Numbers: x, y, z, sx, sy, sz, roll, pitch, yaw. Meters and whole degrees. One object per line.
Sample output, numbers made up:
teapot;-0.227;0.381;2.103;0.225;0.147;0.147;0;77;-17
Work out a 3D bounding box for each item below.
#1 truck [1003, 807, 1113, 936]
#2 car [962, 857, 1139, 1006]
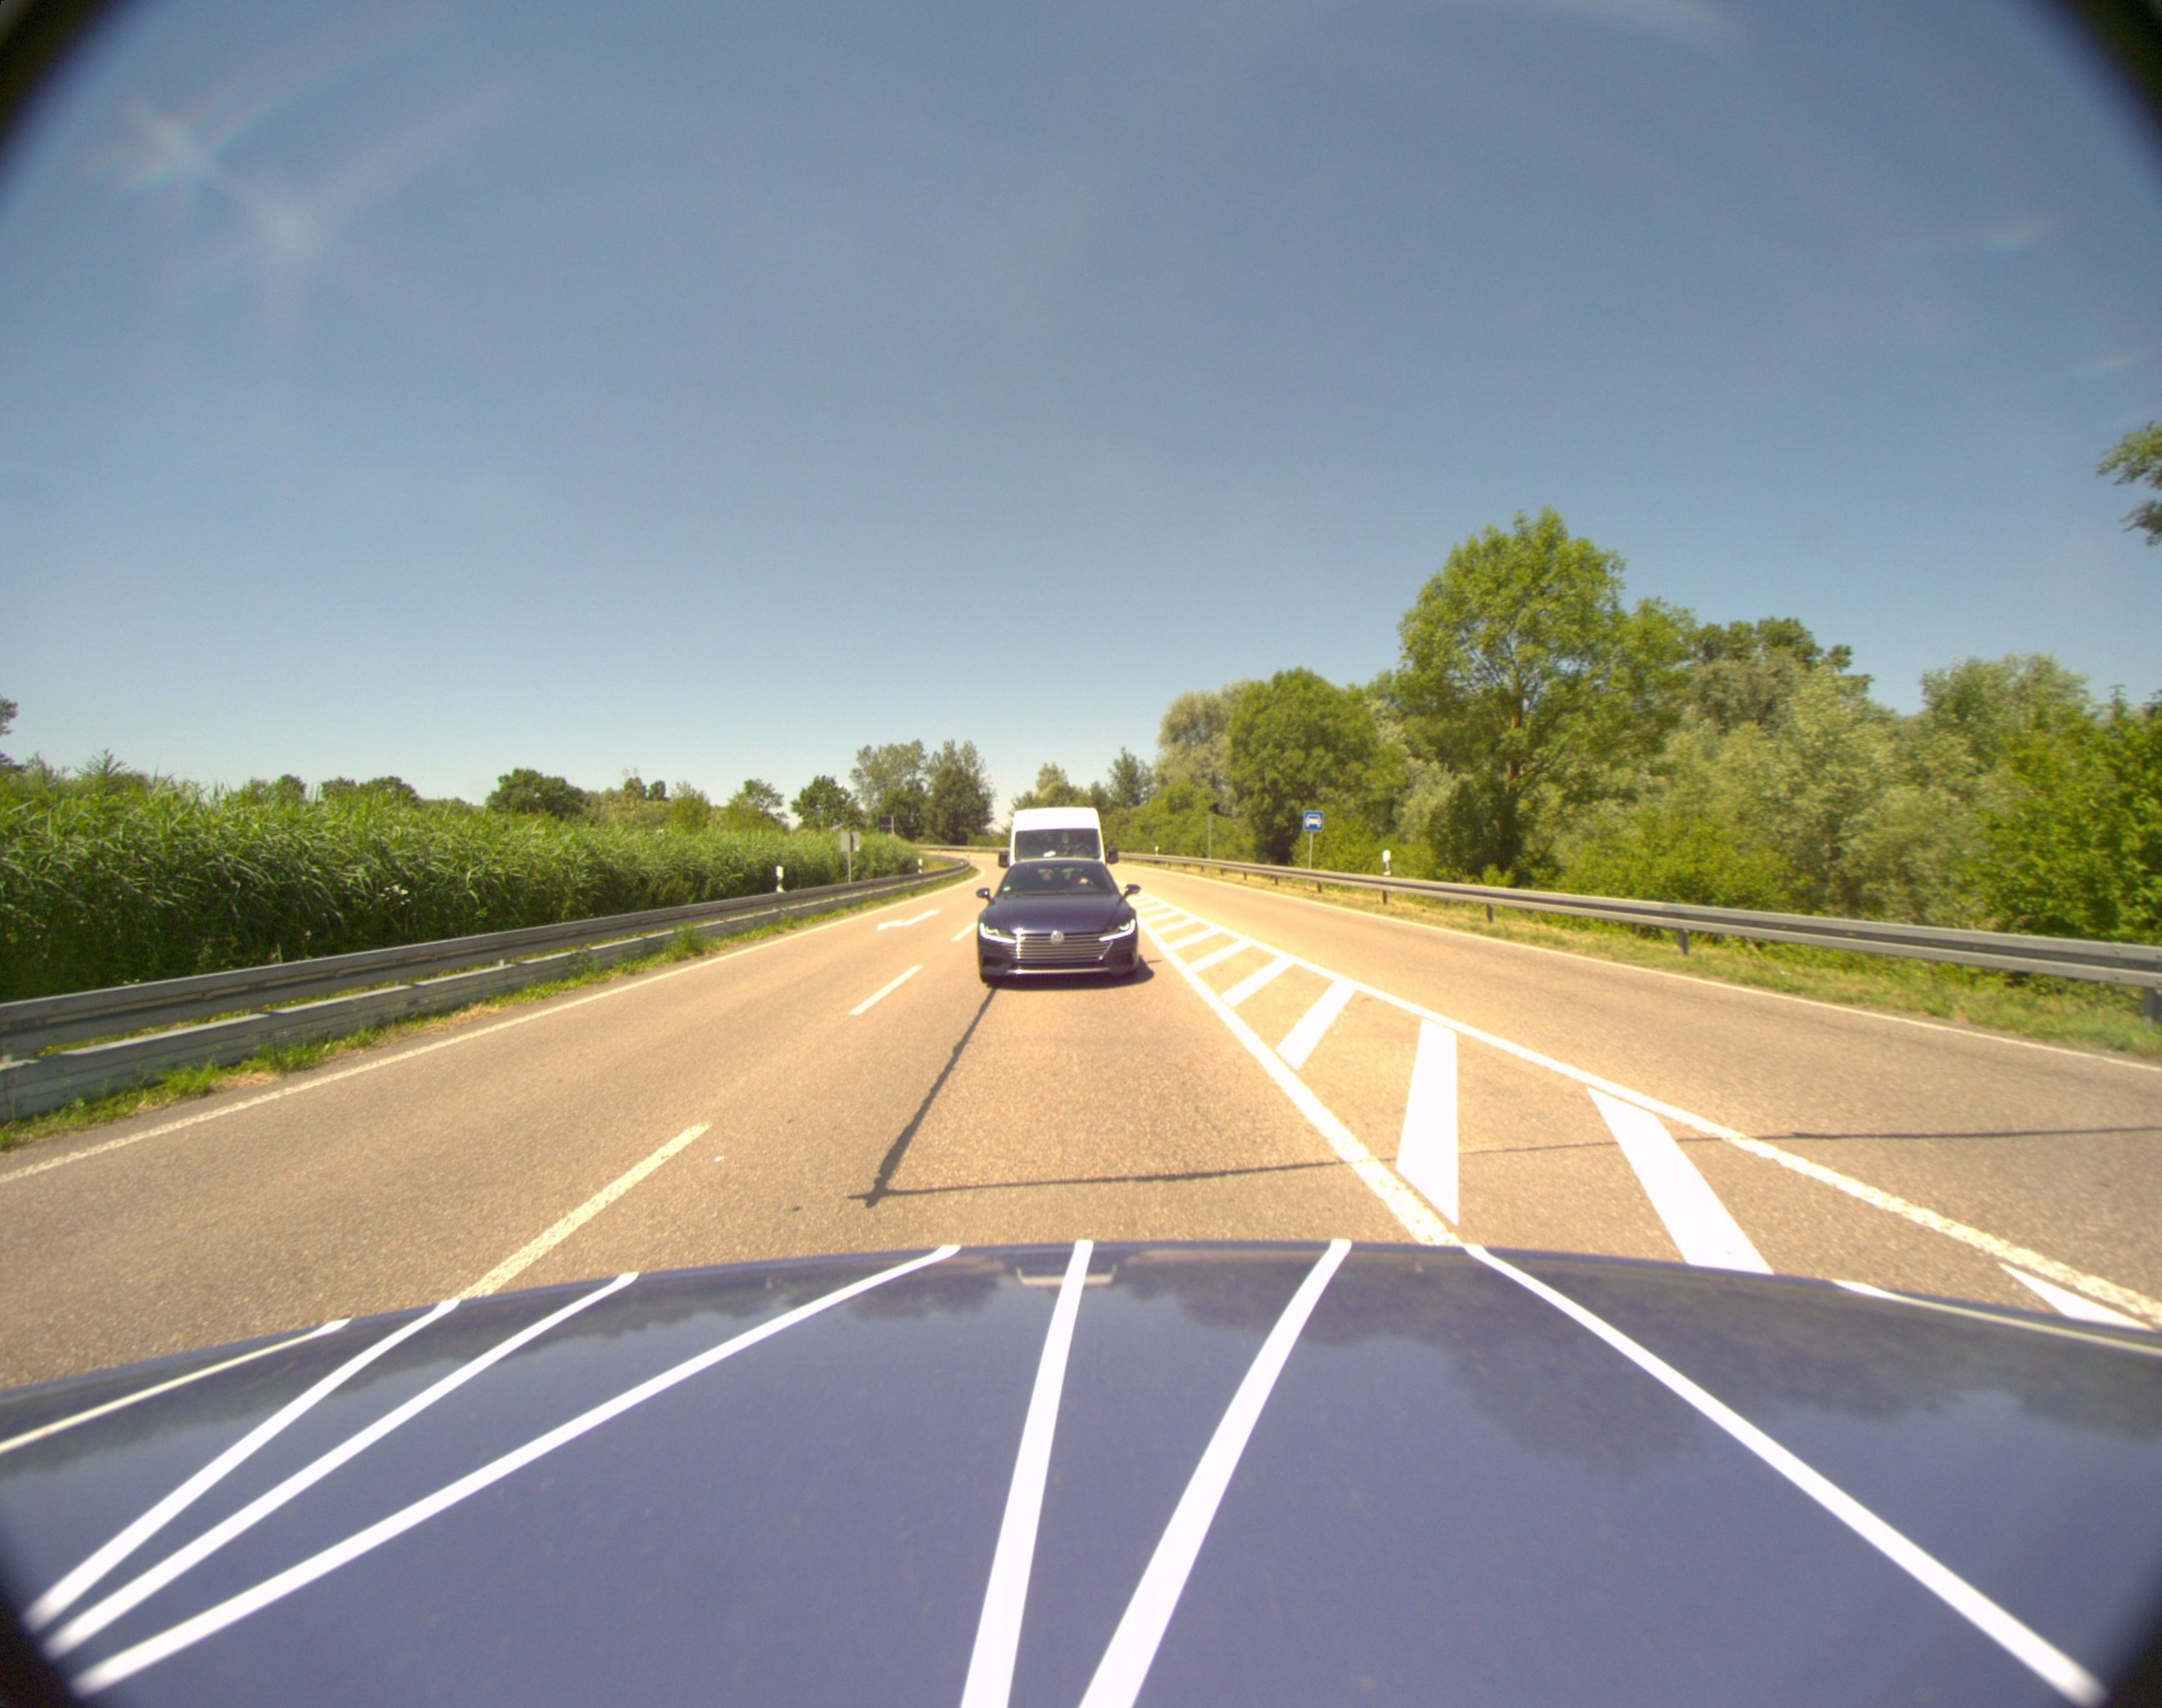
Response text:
truck;-0.617;0.289;17.199;2.011;2.365;5.909;-1;1;-4
car;-0.301;0.820;10.173;1.819;1.454;4.415;-1;1;0
